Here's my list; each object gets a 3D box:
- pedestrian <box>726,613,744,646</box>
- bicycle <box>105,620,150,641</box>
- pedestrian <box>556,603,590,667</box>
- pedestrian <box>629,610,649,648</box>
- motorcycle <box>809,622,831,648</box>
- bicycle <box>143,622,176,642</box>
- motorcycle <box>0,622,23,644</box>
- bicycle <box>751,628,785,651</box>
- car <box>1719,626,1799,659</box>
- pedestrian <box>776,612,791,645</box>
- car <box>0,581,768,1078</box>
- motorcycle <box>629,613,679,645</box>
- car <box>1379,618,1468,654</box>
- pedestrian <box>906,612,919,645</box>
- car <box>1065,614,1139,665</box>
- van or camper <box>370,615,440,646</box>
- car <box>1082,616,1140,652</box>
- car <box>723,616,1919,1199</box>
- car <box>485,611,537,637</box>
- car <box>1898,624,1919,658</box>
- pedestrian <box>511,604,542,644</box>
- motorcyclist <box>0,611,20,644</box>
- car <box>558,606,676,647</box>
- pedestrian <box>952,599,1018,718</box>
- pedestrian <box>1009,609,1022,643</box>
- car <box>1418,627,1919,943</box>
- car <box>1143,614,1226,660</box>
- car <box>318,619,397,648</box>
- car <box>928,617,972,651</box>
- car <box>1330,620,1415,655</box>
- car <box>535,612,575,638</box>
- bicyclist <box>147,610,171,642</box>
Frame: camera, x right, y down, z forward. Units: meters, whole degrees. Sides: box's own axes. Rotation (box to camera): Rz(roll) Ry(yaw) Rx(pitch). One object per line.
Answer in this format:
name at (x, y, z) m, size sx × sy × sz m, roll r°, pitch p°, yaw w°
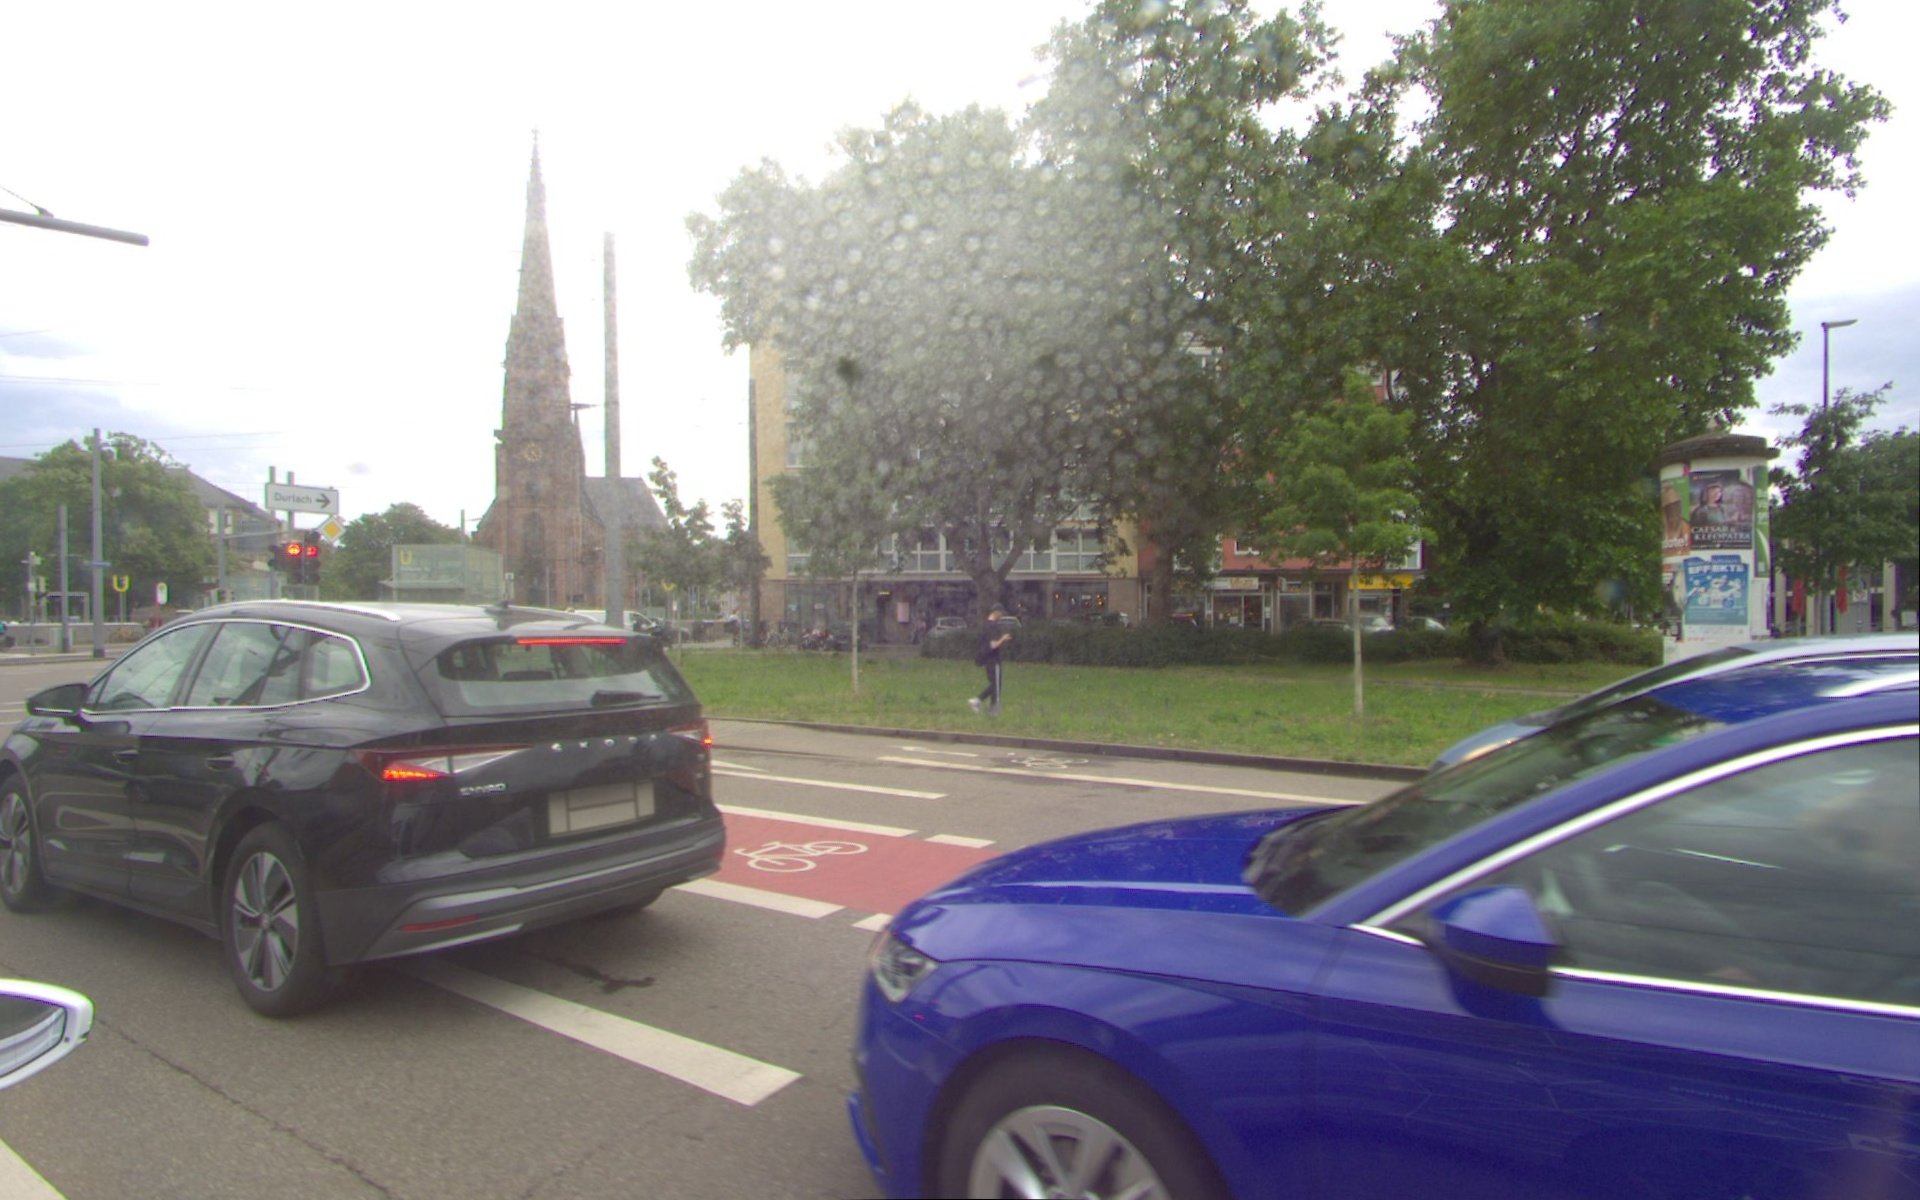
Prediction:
pedestrian at (-11.553, 1.521, 51.443) m, size 0.774 × 1.659 × 0.635 m, roll 0°, pitch 0°, yaw -24°
bicycle at (-55.759, 2.051, 67.090) m, size 0.699 × 1.348 × 2.252 m, roll -2°, pitch -1°, yaw 39°
pedestrian at (-11.893, 1.068, 30.784) m, size 0.874 × 1.955 × 1.016 m, roll 0°, pitch 0°, yaw -16°
pedestrian at (-14.339, 1.287, 44.700) m, size 0.625 × 1.659 × 0.872 m, roll 0°, pitch 0°, yaw -1°
motorcycle at (-5.554, 1.381, 39.669) m, size 0.857 × 1.010 × 1.014 m, roll 0°, pitch -1°, yaw -9°
bicycle at (-48.898, 1.954, 61.156) m, size 0.763 × 1.199 × 2.030 m, roll 0°, pitch -1°, yaw -13°
motorcycle at (-49.211, 1.684, 51.108) m, size 0.729 × 1.154 × 2.142 m, roll 0°, pitch -1°, yaw 0°
bicycle at (-7.806, 1.619, 40.746) m, size 1.240 × 0.929 × 0.595 m, roll 0°, pitch -1°, yaw 2°
car at (43.186, 2.256, 54.245) m, size 1.828 × 1.644 × 4.470 m, roll -1°, pitch -1°, yaw 17°
pedestrian at (-8.925, 1.452, 50.692) m, size 0.625 × 1.659 × 0.872 m, roll 0°, pitch 0°, yaw -1°
car at (-3.266, 0.786, 5.192) m, size 4.444 × 1.617 × 1.774 m, roll -1°, pitch -1°, yaw 32°
motorcycle at (-11.474, 1.088, 37.629) m, size 0.753 × 1.183 × 2.385 m, roll 0°, pitch -1°, yaw 12°
car at (21.626, 1.656, 46.934) m, size 1.825 × 1.568 × 4.476 m, roll 0°, pitch -1°, yaw -4°
pedestrian at (-2.364, 1.412, 49.892) m, size 0.625 × 1.659 × 0.872 m, roll 0°, pitch 0°, yaw 0°
car at (5.138, 1.407, 36.749) m, size 1.825 × 1.745 × 4.476 m, roll 0°, pitch -1°, yaw -3°
van or camper at (-33.355, 1.816, 60.324) m, size 1.961 × 1.764 × 4.305 m, roll -1°, pitch -1°, yaw -3°
car at (7.032, 1.569, 46.966) m, size 1.825 × 1.568 × 4.476 m, roll 0°, pitch -1°, yaw -3°
car at (1.759, 0.788, 1.931) m, size 4.403 × 1.507 × 1.776 m, roll -1°, pitch -1°, yaw 33°
car at (-32.485, 1.750, 72.552) m, size 1.864 × 1.798 × 4.001 m, roll -1°, pitch -1°, yaw 1°
car at (46.155, 1.907, 46.565) m, size 1.865 × 1.568 × 4.470 m, roll -1°, pitch -1°, yaw 17°
pedestrian at (-20.657, 1.145, 47.732) m, size 1.066 × 1.820 × 0.947 m, roll -1°, pitch -1°, yaw 0°
motorcyclist at (-49.203, 1.427, 51.539) m, size 0.735 × 1.671 × 0.980 m, roll -1°, pitch 0°, yaw 0°
car at (-18.509, 1.413, 54.218) m, size 5.674 × 2.039 × 2.011 m, roll 0°, pitch -1°, yaw -40°
pedestrian at (0.390, 0.922, 16.026) m, size 0.968 × 1.868 × 0.536 m, roll 0°, pitch 0°, yaw -11°
pedestrian at (2.794, 1.300, 50.329) m, size 0.625 × 1.659 × 0.872 m, roll 0°, pitch 0°, yaw 0°
car at (4.819, 0.908, 5.638) m, size 4.033 × 1.486 × 1.748 m, roll 0°, pitch -1°, yaw 27°
car at (8.186, 1.328, 36.963) m, size 1.825 × 1.568 × 4.476 m, roll 0°, pitch -1°, yaw -3°
car at (-32.533, 1.801, 54.211) m, size 1.740 × 1.483 × 4.001 m, roll -1°, pitch -1°, yaw 2°
car at (-0.498, 1.565, 46.432) m, size 1.825 × 1.509 × 4.476 m, roll 0°, pitch -1°, yaw -3°
car at (19.160, 1.707, 46.702) m, size 1.825 × 1.568 × 4.476 m, roll 0°, pitch -1°, yaw -4°
car at (-32.865, 2.016, 81.367) m, size 1.961 × 2.040 × 4.000 m, roll 0°, pitch -1°, yaw -5°
bicyclist at (-48.891, 1.588, 61.115) m, size 0.764 × 1.922 × 0.996 m, roll 0°, pitch 0°, yaw -13°
